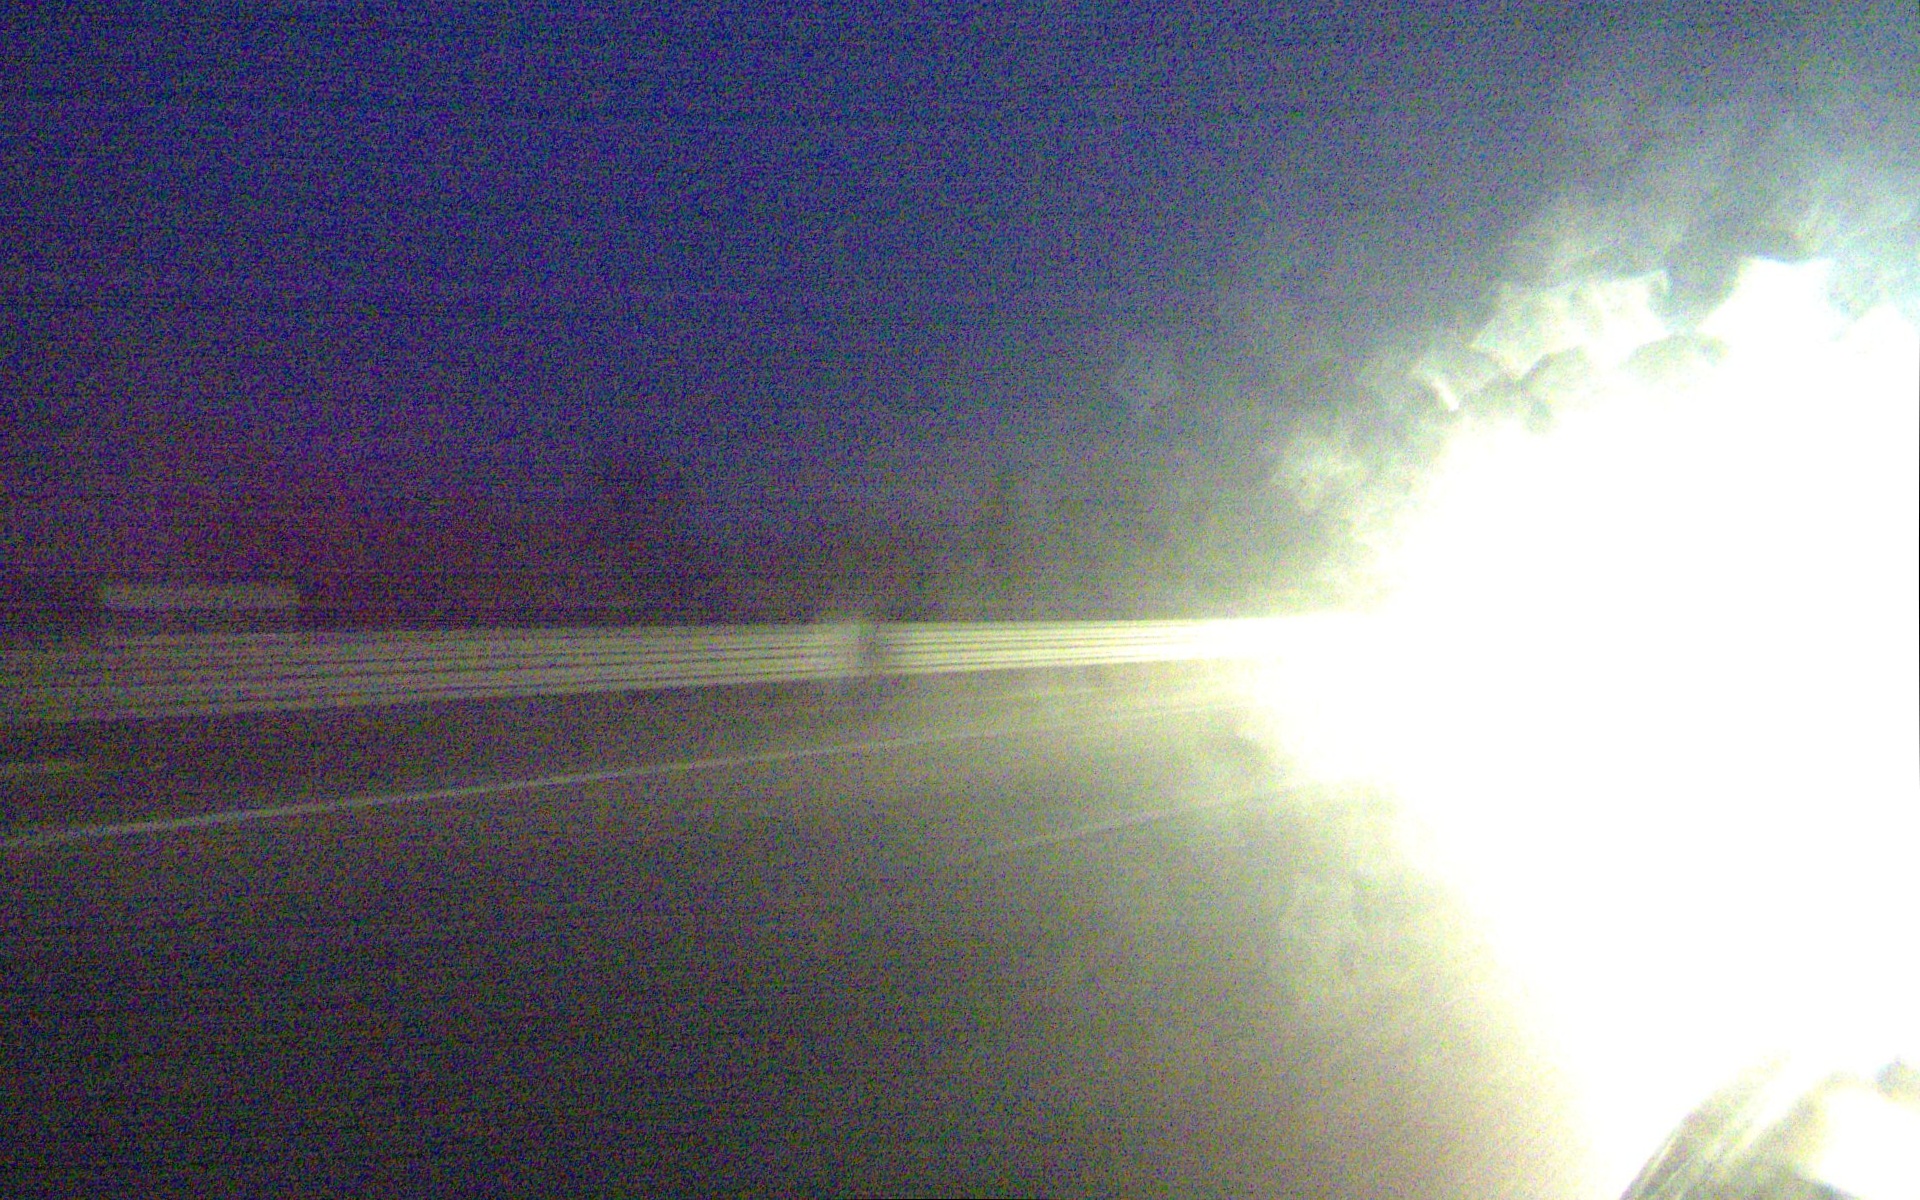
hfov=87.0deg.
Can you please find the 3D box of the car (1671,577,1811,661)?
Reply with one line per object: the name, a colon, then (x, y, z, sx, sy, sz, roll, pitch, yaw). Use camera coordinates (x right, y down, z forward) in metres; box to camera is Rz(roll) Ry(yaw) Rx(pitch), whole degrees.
car: (19.328, 0.449, 24.975, 4.616, 1.870, 1.830, 1, -1, -41)
